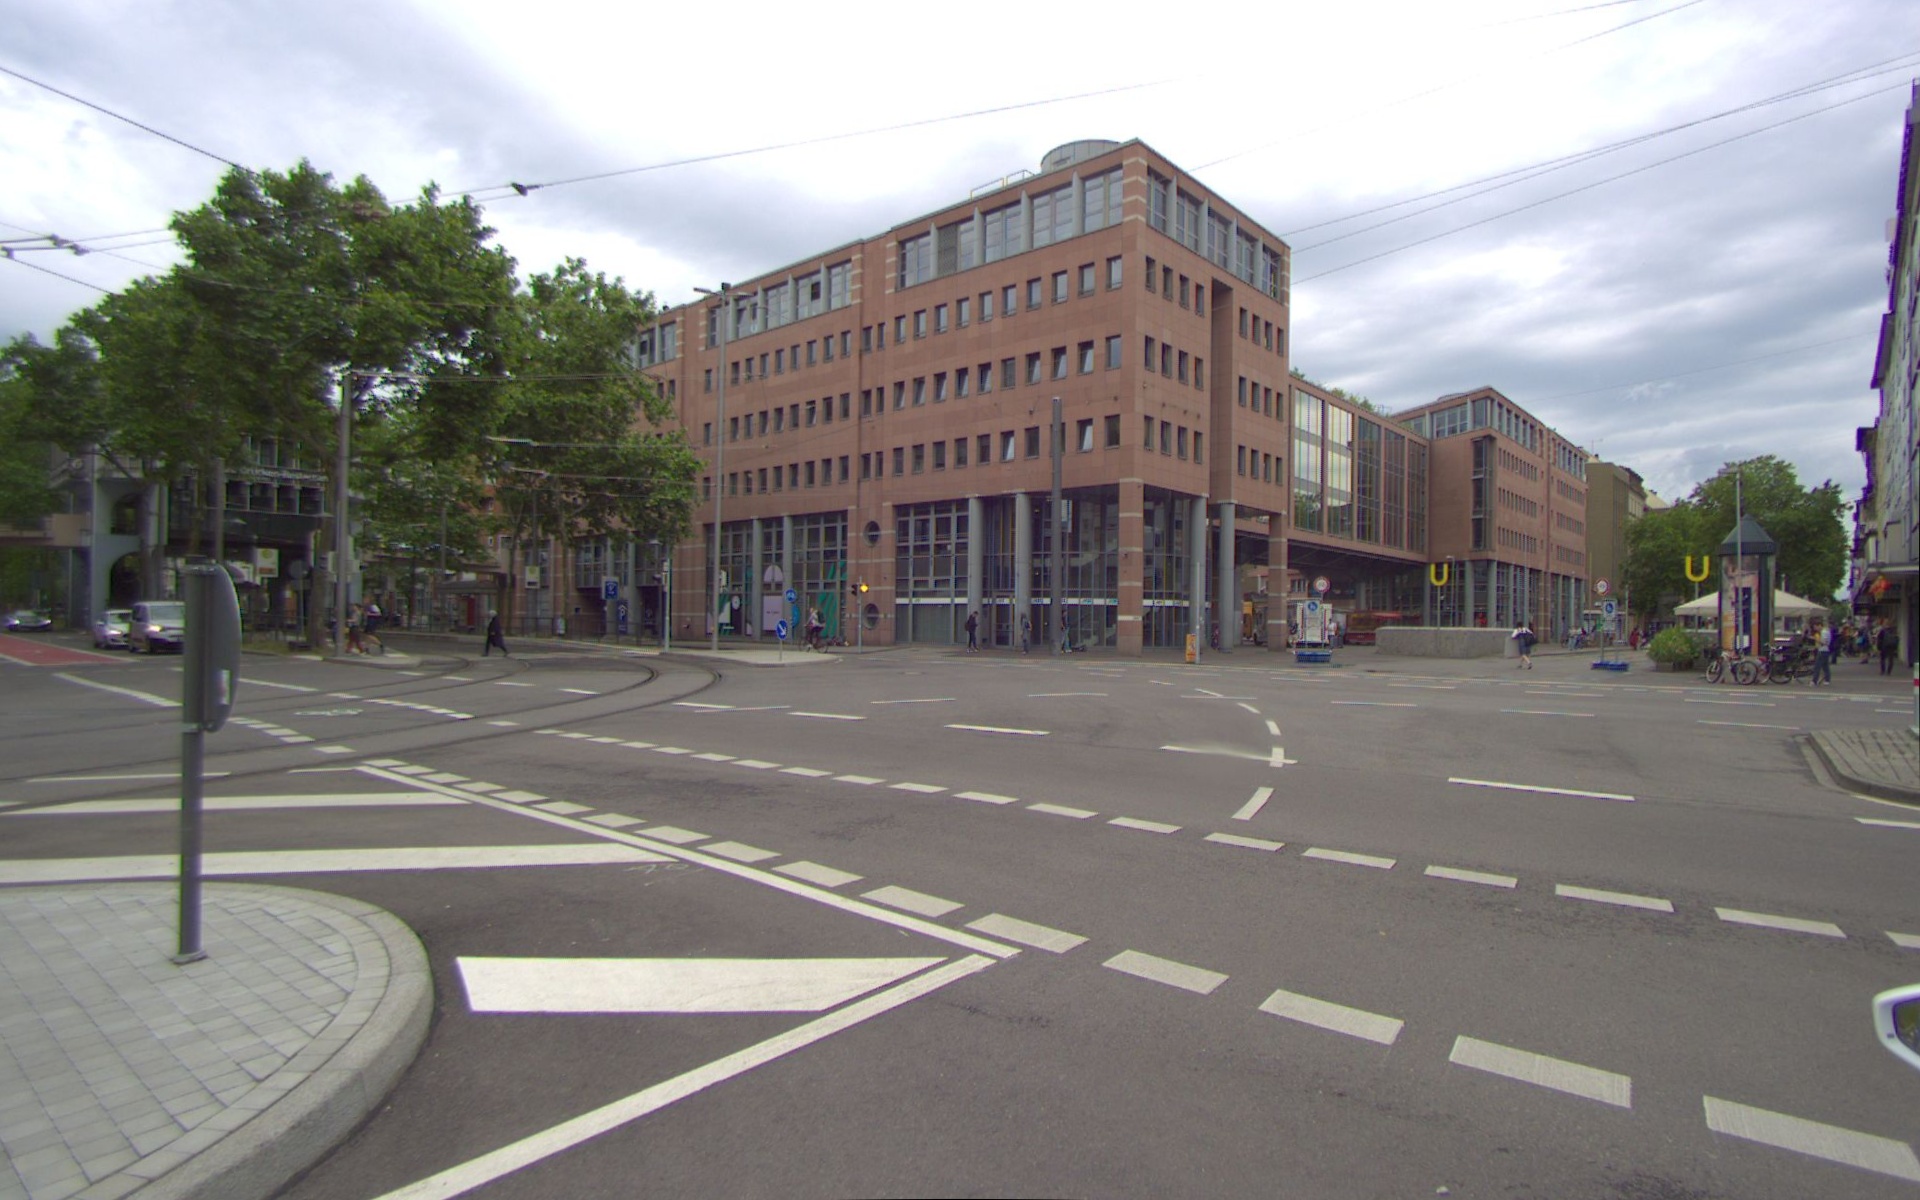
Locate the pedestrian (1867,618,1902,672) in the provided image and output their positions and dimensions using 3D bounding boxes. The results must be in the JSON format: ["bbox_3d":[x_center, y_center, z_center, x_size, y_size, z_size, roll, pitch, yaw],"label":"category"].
[{"bbox_3d":[30.466,1.479,33.092,0.727,1.727,0.705,2,0,-36],"label":"pedestrian"}]

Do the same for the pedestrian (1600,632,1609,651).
[{"bbox_3d":[58.773,3.758,91.618,0.592,1.737,0.653,1,0,35],"label":"pedestrian"}]

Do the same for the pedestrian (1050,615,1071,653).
[{"bbox_3d":[4.301,1.435,42.921,0.729,1.581,0.574,2,-1,16],"label":"pedestrian"}]

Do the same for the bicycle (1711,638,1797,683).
[{"bbox_3d":[22.642,1.720,28.685,1.839,1.187,0.530,1,0,28],"label":"bicycle"}]

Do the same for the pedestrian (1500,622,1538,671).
[{"bbox_3d":[20.299,1.675,36.491,0.725,1.727,0.922,2,0,-28],"label":"pedestrian"}]

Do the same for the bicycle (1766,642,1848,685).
[{"bbox_3d":[23.517,1.739,27.898,0.434,1.080,1.681,2,0,-41],"label":"bicycle"}]

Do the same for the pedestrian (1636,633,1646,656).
[{"bbox_3d":[53.234,3.490,78.543,0.592,1.737,0.653,1,0,35],"label":"pedestrian"}]

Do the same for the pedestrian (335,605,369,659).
[{"bbox_3d":[-18.530,0.975,30.619,0.564,1.595,0.628,1,-2,34],"label":"pedestrian"}]

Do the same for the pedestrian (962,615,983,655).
[{"bbox_3d":[0.543,1.526,44.231,0.729,1.710,0.574,2,-1,16],"label":"pedestrian"}]

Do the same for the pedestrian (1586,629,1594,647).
[{"bbox_3d":[60.513,3.649,96.490,0.592,1.737,0.653,1,0,35],"label":"pedestrian"}]

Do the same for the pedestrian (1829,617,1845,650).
[{"bbox_3d":[47.241,1.810,54.108,0.605,1.727,0.616,1,0,43],"label":"pedestrian"}]

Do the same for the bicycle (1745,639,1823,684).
[{"bbox_3d":[23.558,1.747,28.761,1.673,1.187,0.436,1,0,36],"label":"bicycle"}]

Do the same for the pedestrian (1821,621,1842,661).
[{"bbox_3d":[38.579,1.807,44.458,0.636,1.727,0.556,1,0,43],"label":"pedestrian"}]

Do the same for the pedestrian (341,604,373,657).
[{"bbox_3d":[-19.139,0.973,31.910,0.564,1.633,0.628,1,-2,34],"label":"pedestrian"}]

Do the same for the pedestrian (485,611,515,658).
[{"bbox_3d":[-15.699,1.178,34.265,0.739,1.581,0.567,4,-2,-43],"label":"pedestrian"}]

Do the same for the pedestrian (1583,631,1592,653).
[{"bbox_3d":[52.256,3.502,83.649,0.592,1.737,0.653,1,0,35],"label":"pedestrian"}]

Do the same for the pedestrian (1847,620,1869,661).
[{"bbox_3d":[40.286,1.816,45.070,0.729,1.845,0.659,0,-1,40],"label":"pedestrian"}]

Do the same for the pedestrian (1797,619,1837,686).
[{"bbox_3d":[23.473,1.419,27.516,0.722,1.769,0.661,1,0,34],"label":"pedestrian"}]

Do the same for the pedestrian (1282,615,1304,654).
[{"bbox_3d":[16.424,1.705,49.554,0.727,1.866,0.695,2,0,-36],"label":"pedestrian"}]

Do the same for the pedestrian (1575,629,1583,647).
[{"bbox_3d":[59.833,3.653,97.066,0.592,1.737,0.653,1,0,35],"label":"pedestrian"}]

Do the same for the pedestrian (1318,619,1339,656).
[{"bbox_3d":[19.124,1.931,52.096,0.725,1.866,0.697,2,0,-29],"label":"pedestrian"}]

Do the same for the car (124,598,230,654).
[{"bbox_3d":[-27.173,0.887,34.819,3.936,1.817,1.921,0,-1,37],"label":"car"}]

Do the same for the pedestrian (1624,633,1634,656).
[{"bbox_3d":[52.616,3.476,79.002,0.592,1.737,0.653,1,0,35],"label":"pedestrian"}]

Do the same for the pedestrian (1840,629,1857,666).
[{"bbox_3d":[41.892,2.239,47.353,0.549,1.727,0.515,1,0,43],"label":"pedestrian"}]

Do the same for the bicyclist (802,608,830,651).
[{"bbox_3d":[-6.260,1.276,43.656,0.865,1.836,0.832,1,0,44],"label":"bicyclist"}]

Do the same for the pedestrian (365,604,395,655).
[{"bbox_3d":[-19.054,0.965,33.001,0.564,1.633,0.628,1,-2,34],"label":"pedestrian"}]

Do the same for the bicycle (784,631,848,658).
[{"bbox_3d":[-6.273,1.930,43.584,3.232,1.058,0.899,0,-1,44],"label":"bicycle"}]

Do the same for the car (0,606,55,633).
[{"bbox_3d":[-56.461,1.194,60.679,3.808,1.584,1.921,0,-1,37],"label":"car"}]

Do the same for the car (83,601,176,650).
[{"bbox_3d":[-32.181,0.965,38.903,3.936,1.817,1.921,0,-1,37],"label":"car"}]

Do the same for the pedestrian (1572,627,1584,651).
[{"bbox_3d":[40.372,2.528,65.606,0.592,1.557,0.653,1,0,35],"label":"pedestrian"}]
